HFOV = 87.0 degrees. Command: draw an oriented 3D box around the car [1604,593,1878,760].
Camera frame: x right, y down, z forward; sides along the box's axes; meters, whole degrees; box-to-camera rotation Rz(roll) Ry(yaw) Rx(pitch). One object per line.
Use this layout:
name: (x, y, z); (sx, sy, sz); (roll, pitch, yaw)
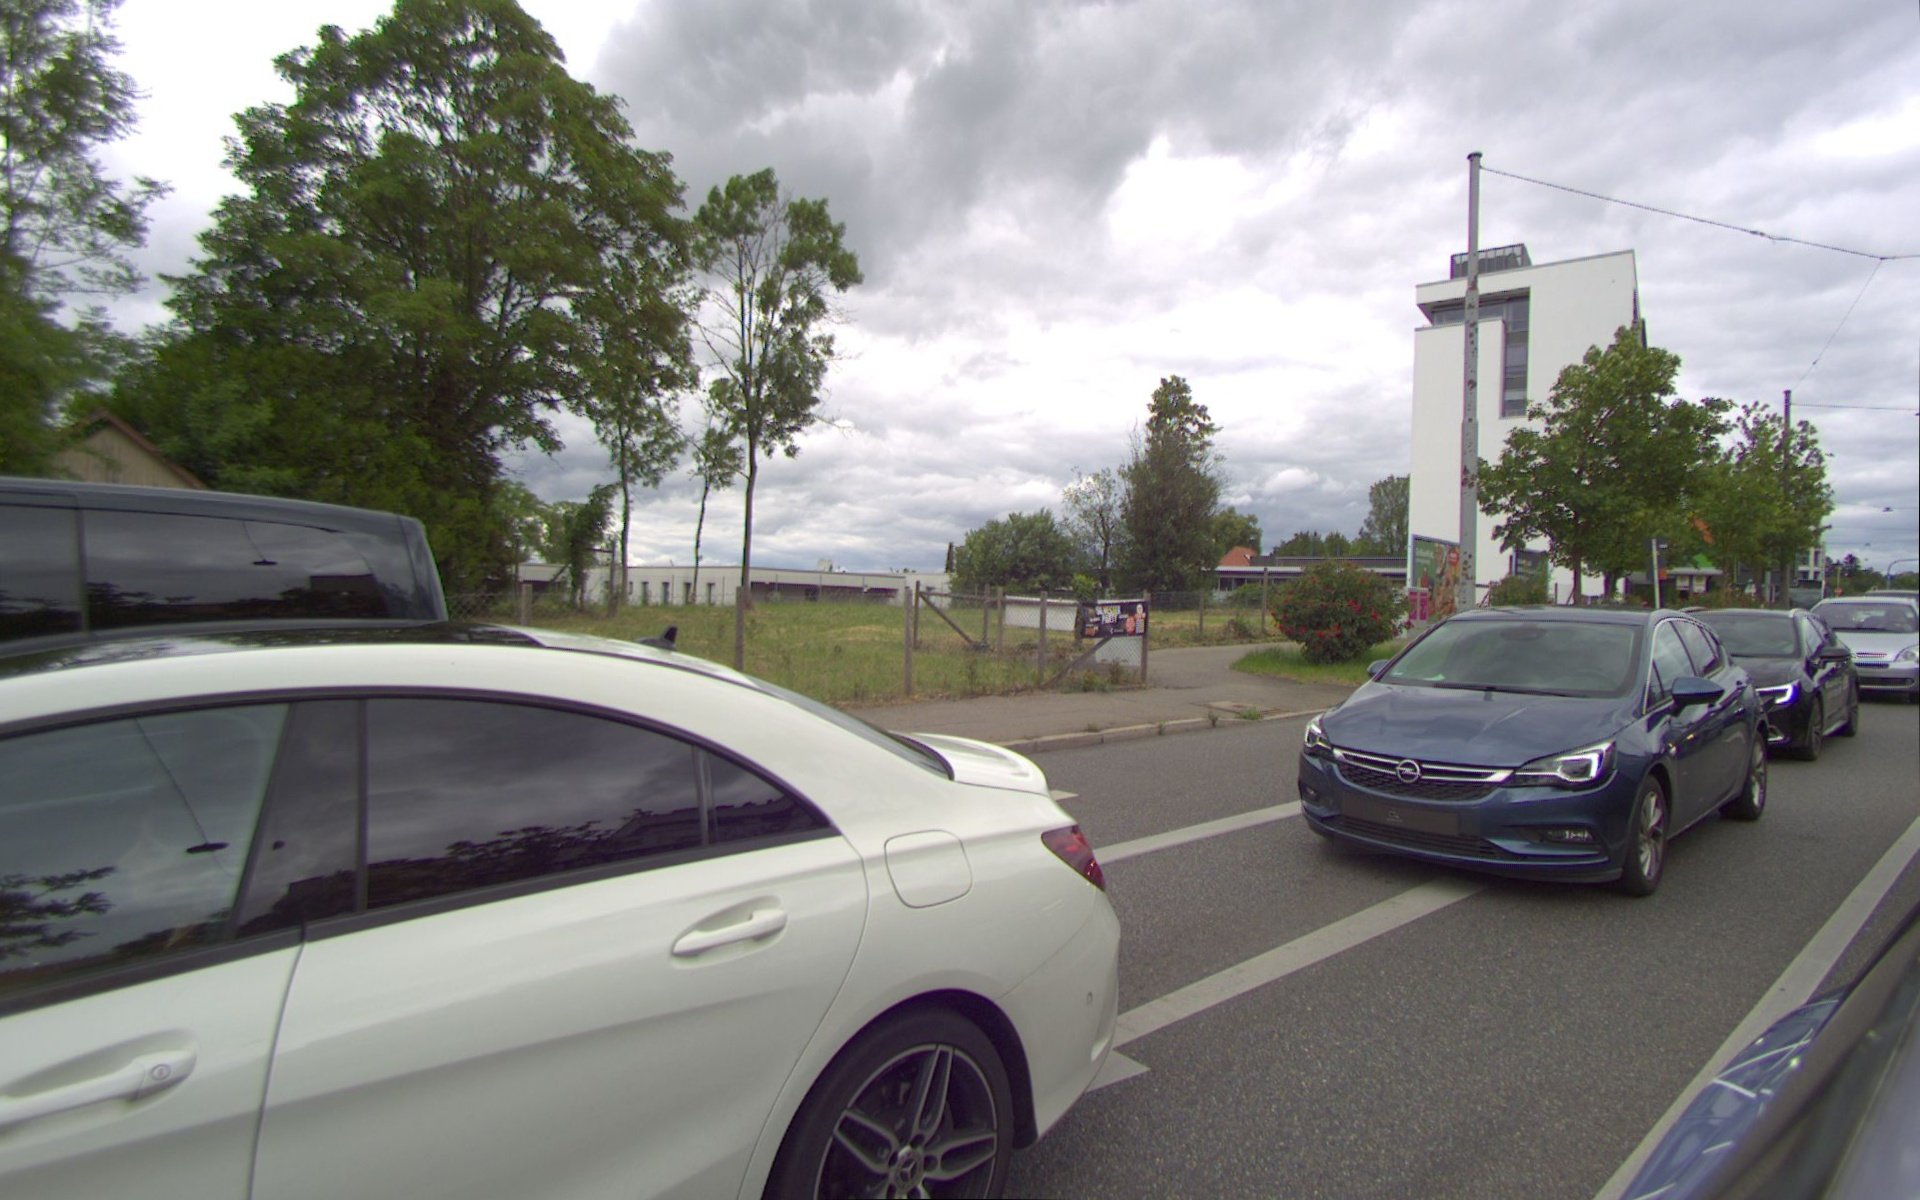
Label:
car: (8.471, 0.665, 10.863); (3.854, 1.475, 1.663); (0, 0, -42)

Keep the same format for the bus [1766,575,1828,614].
bus: (61.429, -0.436, 74.479); (2.952, 2.664, 12.751); (0, 1, 37)

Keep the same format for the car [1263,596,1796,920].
car: (3.818, 0.693, 6.487); (3.931, 1.428, 1.825); (0, 0, -42)

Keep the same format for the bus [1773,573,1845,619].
bus: (53.962, -0.303, 64.579); (2.952, 2.664, 11.986); (0, 1, 37)

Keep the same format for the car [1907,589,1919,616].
car: (61.009, 0.125, 63.545); (1.991, 1.705, 3.941); (-2, -1, 41)

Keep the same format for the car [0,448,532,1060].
car: (-4.111, 0.475, 3.340); (4.627, 1.863, 1.952); (0, -1, -41)

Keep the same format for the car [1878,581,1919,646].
car: (29.478, 0.397, 30.999); (1.847, 1.910, 4.070); (-1, -1, 44)

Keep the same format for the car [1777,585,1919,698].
car: (14.800, 0.597, 16.367); (3.717, 1.637, 1.849); (0, -1, -41)

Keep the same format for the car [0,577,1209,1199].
car: (-1.530, 0.697, 1.820); (4.300, 1.451, 1.652); (0, 1, -41)
